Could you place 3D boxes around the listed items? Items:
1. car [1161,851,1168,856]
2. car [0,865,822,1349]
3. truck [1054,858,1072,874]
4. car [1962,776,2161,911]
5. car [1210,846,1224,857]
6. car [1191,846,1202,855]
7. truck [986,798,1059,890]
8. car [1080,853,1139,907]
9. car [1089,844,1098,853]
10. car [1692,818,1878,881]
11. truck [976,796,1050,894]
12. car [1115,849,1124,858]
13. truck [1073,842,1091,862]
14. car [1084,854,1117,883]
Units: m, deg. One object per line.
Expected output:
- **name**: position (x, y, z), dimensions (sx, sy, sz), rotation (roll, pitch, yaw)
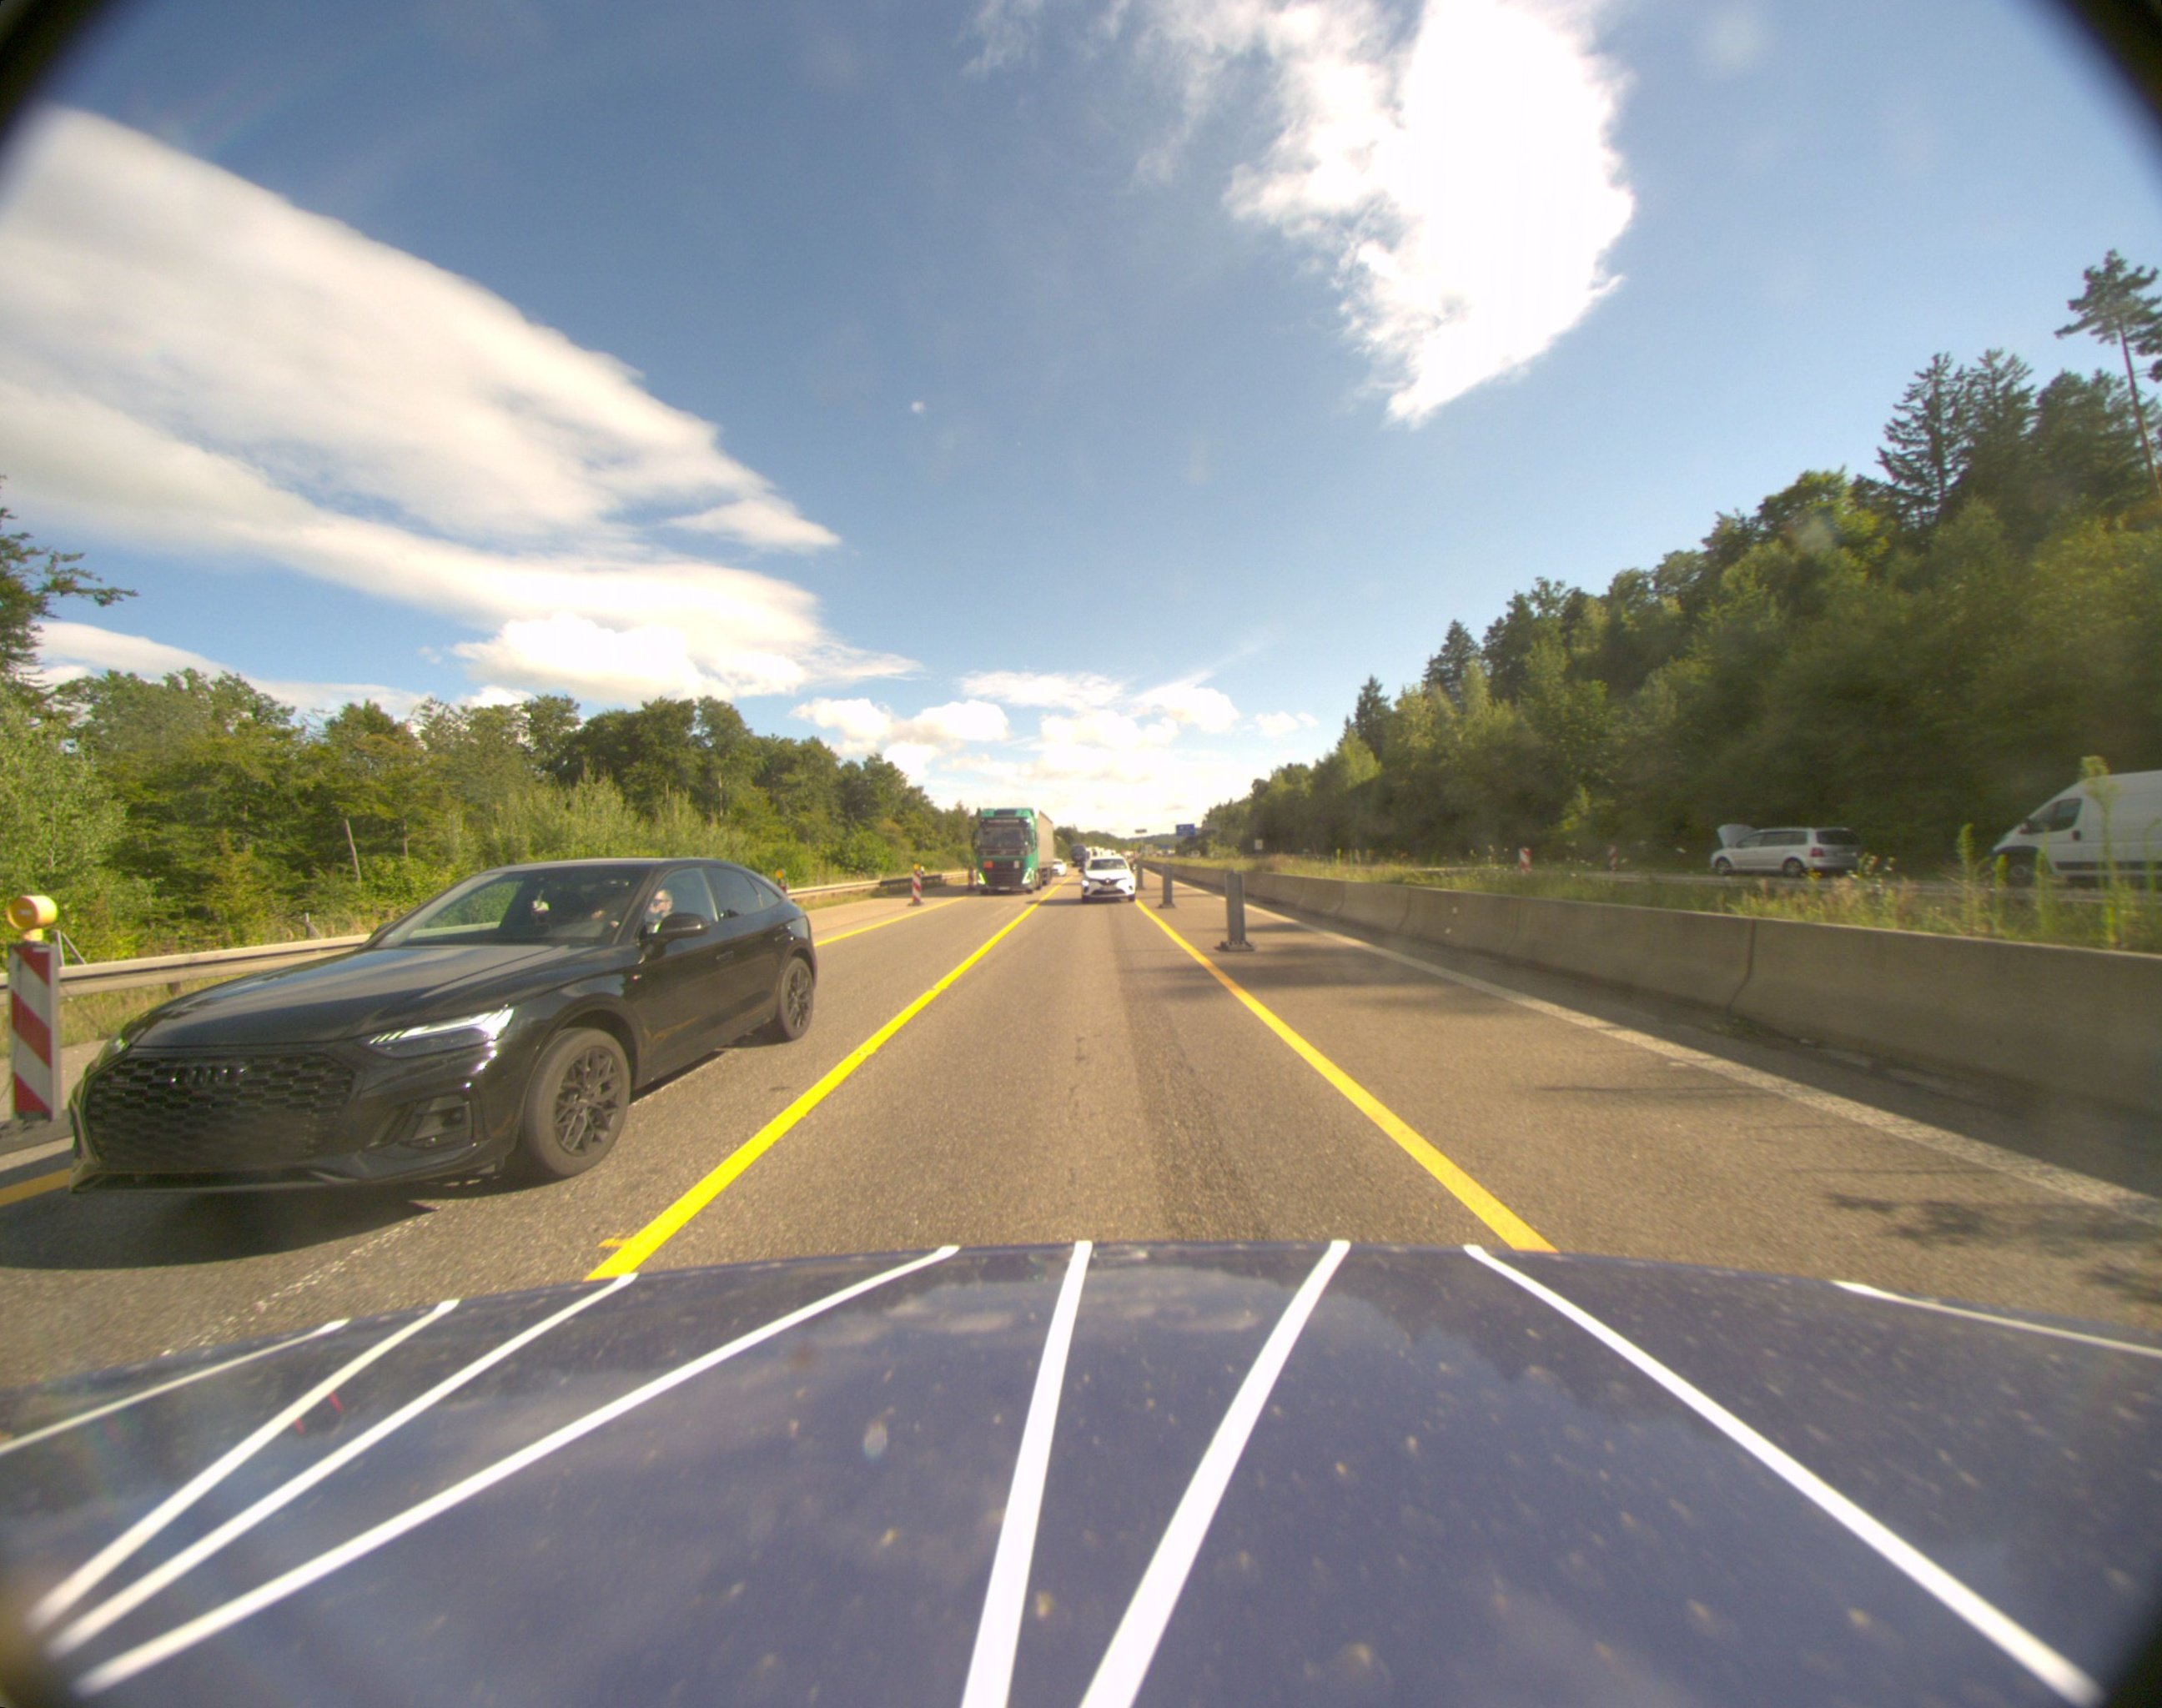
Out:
- **car**: position (26.436, -0.191, 240.119), dimensions (1.782, 1.448, 4.104), rotation (-2, 1, 2)
- **car**: position (-3.369, 0.955, 4.871), dimensions (1.782, 1.593, 4.294), rotation (-2, 1, 1)
- **truck**: position (-1.518, 1.006, 65.343), dimensions (1.468, 1.215, 3.087), rotation (-2, 1, -1)
- **car**: position (22.399, -0.241, 15.207), dimensions (2.033, 2.669, 6.522), rotation (-2, 1, 2)
- **car**: position (23.027, -0.380, 128.725), dimensions (1.782, 1.775, 4.365), rotation (-2, 1, 2)
- **car**: position (25.324, -0.786, 166.956), dimensions (1.782, 1.775, 4.365), rotation (-2, 1, 2)
- **truck**: position (-2.897, -0.432, 42.250), dimensions (2.470, 4.119, 14.212), rotation (-2, 0, 1)
- **car**: position (0.955, 0.801, 25.842), dimensions (1.782, 1.593, 4.017), rotation (-2, 1, 2)
- **car**: position (2.587, -1.201, 160.921), dimensions (1.750, 1.787, 4.000), rotation (-2, 1, 1)
- **car**: position (23.256, -0.162, 25.406), dimensions (1.865, 1.843, 4.762), rotation (-2, 1, 2)
- **truck**: position (-3.048, -0.409, 35.828), dimensions (2.528, 4.075, 6.856), rotation (-2, 1, 1)
- **car**: position (9.556, -0.112, 188.061), dimensions (1.998, 2.002, 4.000), rotation (-2, 1, 4)
- **truck**: position (0.247, -0.397, 129.838), dimensions (2.576, 3.167, 6.803), rotation (-2, 1, 4)
- **car**: position (1.136, 0.798, 43.891), dimensions (1.782, 1.468, 4.017), rotation (-2, 1, 2)
